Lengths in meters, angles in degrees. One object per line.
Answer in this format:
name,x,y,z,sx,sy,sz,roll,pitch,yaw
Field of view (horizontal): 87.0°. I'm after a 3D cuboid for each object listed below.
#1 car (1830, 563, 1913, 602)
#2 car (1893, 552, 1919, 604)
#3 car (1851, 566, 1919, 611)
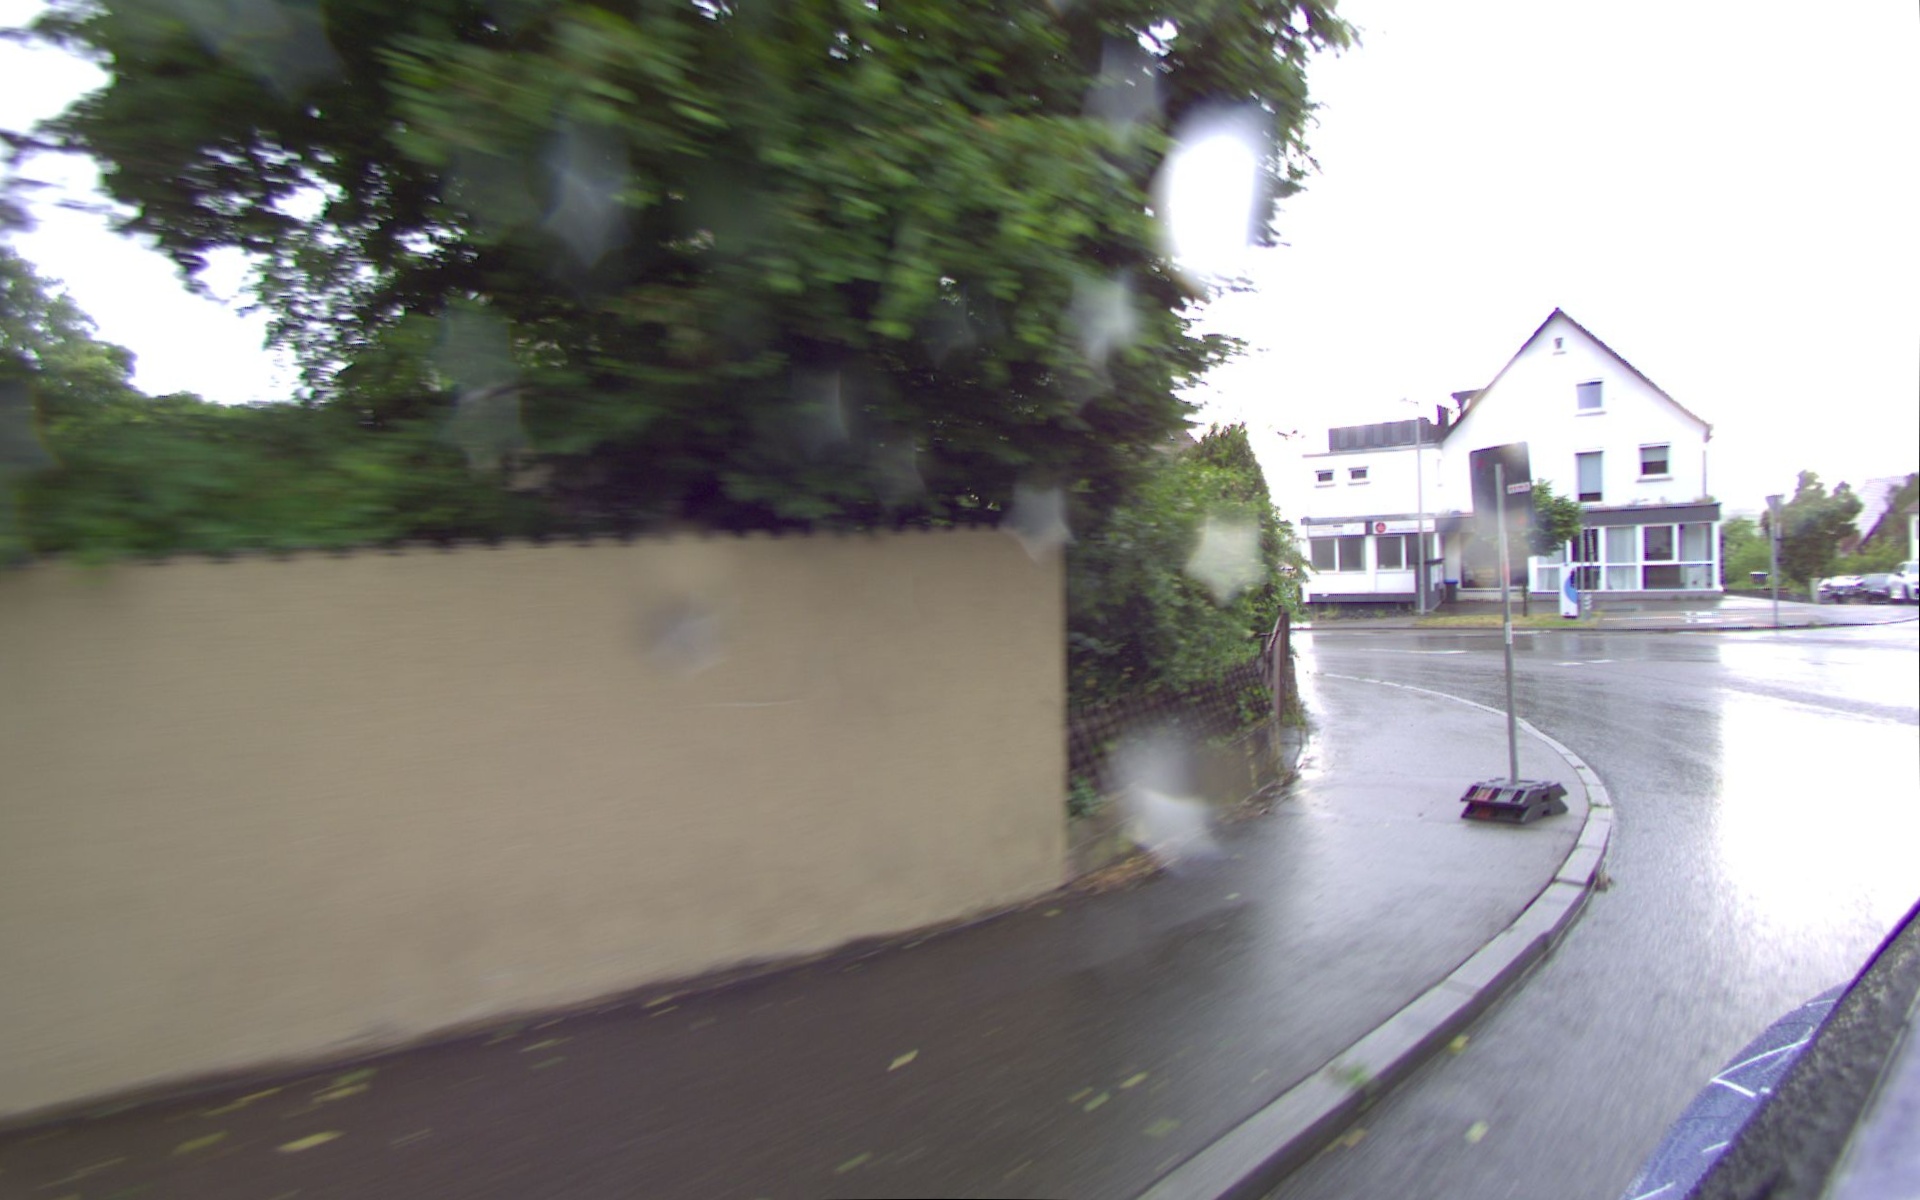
car,40.157,-0.785,44.701,2.053,1.529,4.428,-3,0,35
car,33.734,-0.821,34.512,2.053,1.727,4.736,-3,0,35
car,36.966,-0.484,39.960,2.053,1.529,4.428,-3,0,35
